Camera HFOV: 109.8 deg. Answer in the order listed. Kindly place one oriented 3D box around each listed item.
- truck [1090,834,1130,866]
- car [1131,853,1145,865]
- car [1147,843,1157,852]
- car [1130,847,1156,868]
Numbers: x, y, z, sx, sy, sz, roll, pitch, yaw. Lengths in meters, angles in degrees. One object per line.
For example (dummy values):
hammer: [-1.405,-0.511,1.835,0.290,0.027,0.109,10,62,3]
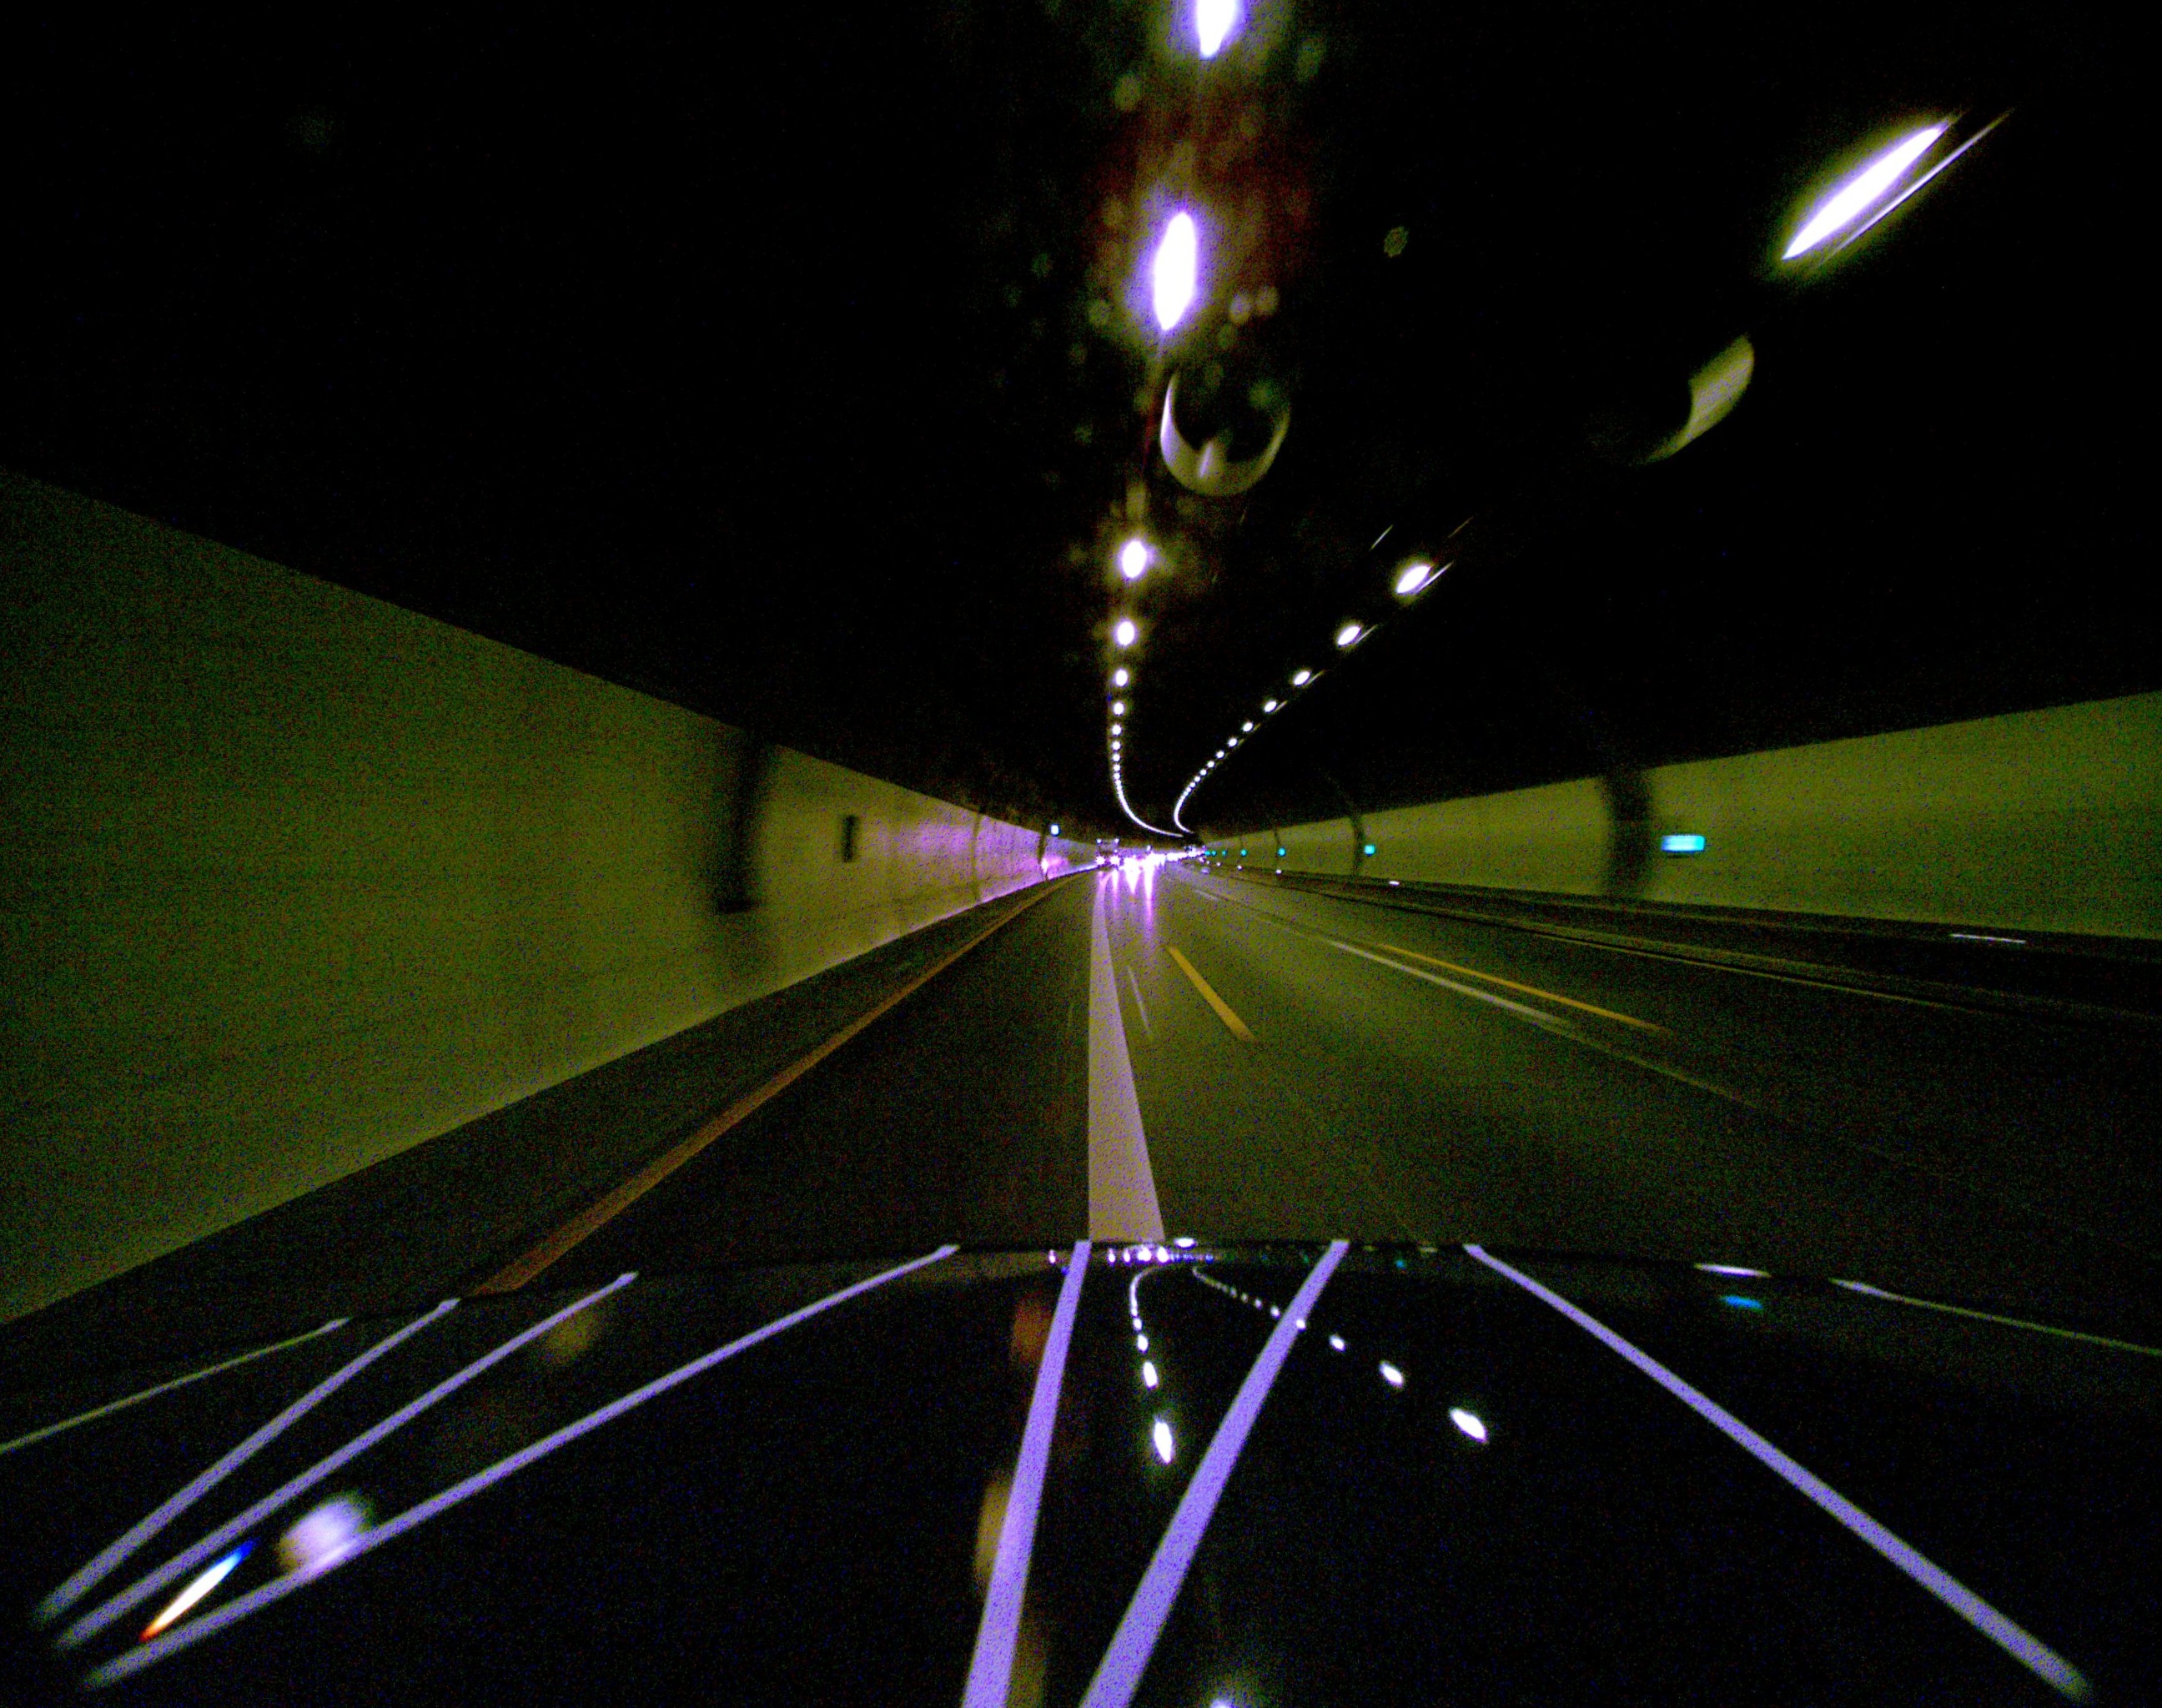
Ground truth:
truck: [3.238,-0.458,81.941,2.987,3.161,10.515,-1,0,9]
car: [9.883,0.830,131.643,1.997,2.002,4.002,-1,0,8]
car: [16.736,-1.491,178.748,1.997,1.917,4.387,-1,0,8]
car: [5.509,0.304,68.045,2.171,1.709,4.482,-1,0,3]
